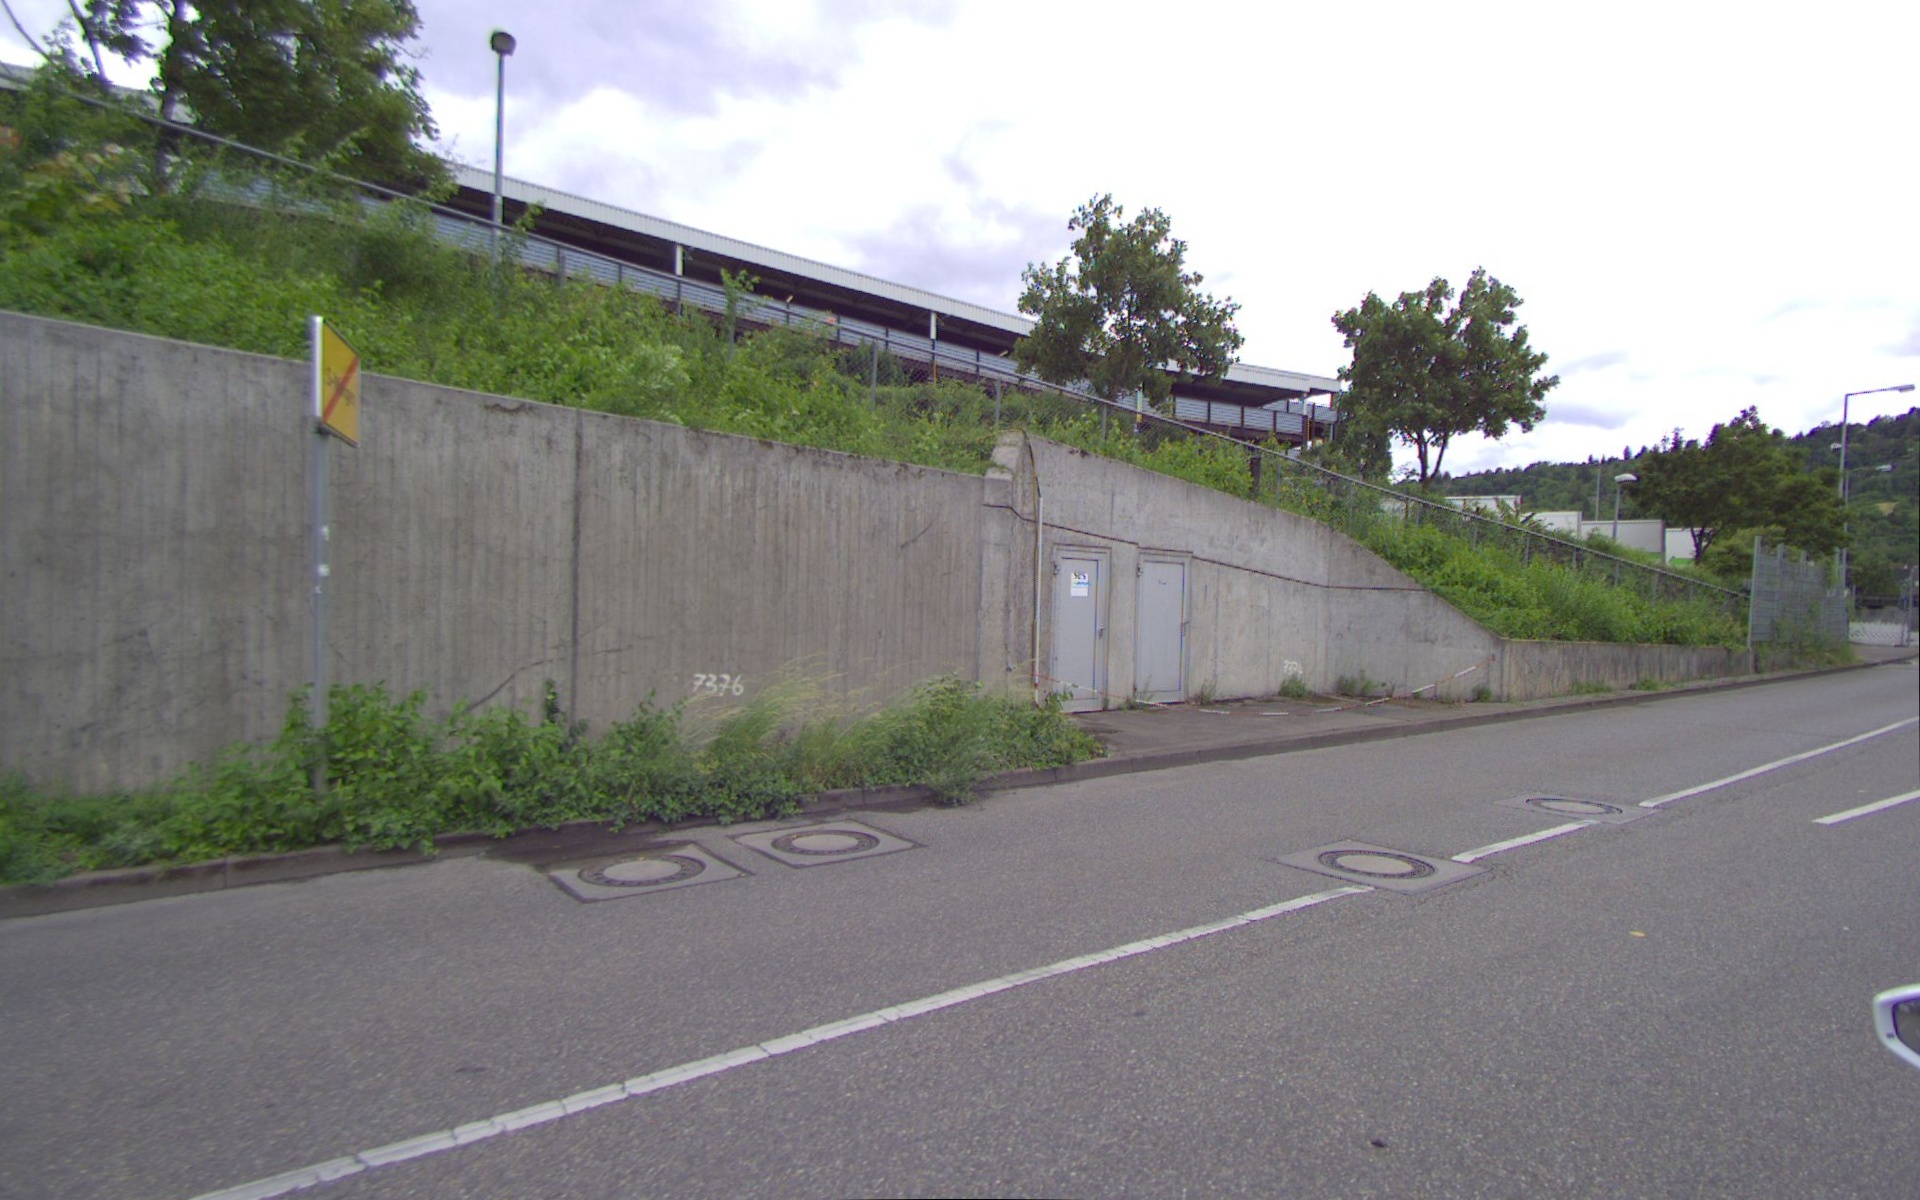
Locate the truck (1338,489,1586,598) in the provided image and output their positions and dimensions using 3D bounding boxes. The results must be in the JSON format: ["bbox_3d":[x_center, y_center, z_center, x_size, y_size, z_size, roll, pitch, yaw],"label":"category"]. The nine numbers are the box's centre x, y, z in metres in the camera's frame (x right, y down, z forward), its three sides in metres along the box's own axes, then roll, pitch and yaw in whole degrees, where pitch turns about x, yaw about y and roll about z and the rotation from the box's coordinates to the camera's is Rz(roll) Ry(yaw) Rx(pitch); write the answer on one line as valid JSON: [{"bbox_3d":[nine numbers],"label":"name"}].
[{"bbox_3d":[18.119,-2.075,36.847,7.715,3.585,3.051,2,-1,23],"label":"truck"}]

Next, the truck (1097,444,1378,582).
[{"bbox_3d":[8.356,-2.556,30.312,7.715,3.585,3.051,2,-1,23],"label":"truck"}]

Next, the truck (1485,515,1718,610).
[{"bbox_3d":[26.467,-1.563,41.984,7.717,3.585,3.050,2,-1,25],"label":"truck"}]

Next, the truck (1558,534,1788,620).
[{"bbox_3d":[37.160,-1.225,52.660,9.509,4.044,3.038,2,-1,41],"label":"truck"}]

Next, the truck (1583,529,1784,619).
[{"bbox_3d":[35.610,-1.271,49.638,7.745,4.044,3.039,2,0,39],"label":"truck"}]

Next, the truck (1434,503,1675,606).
[{"bbox_3d":[22.903,-1.761,39.227,7.722,3.585,3.049,2,-1,28],"label":"truck"}]

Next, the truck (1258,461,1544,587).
[{"bbox_3d":[14.047,-2.427,32.592,7.998,3.585,3.051,3,-1,23],"label":"truck"}]
